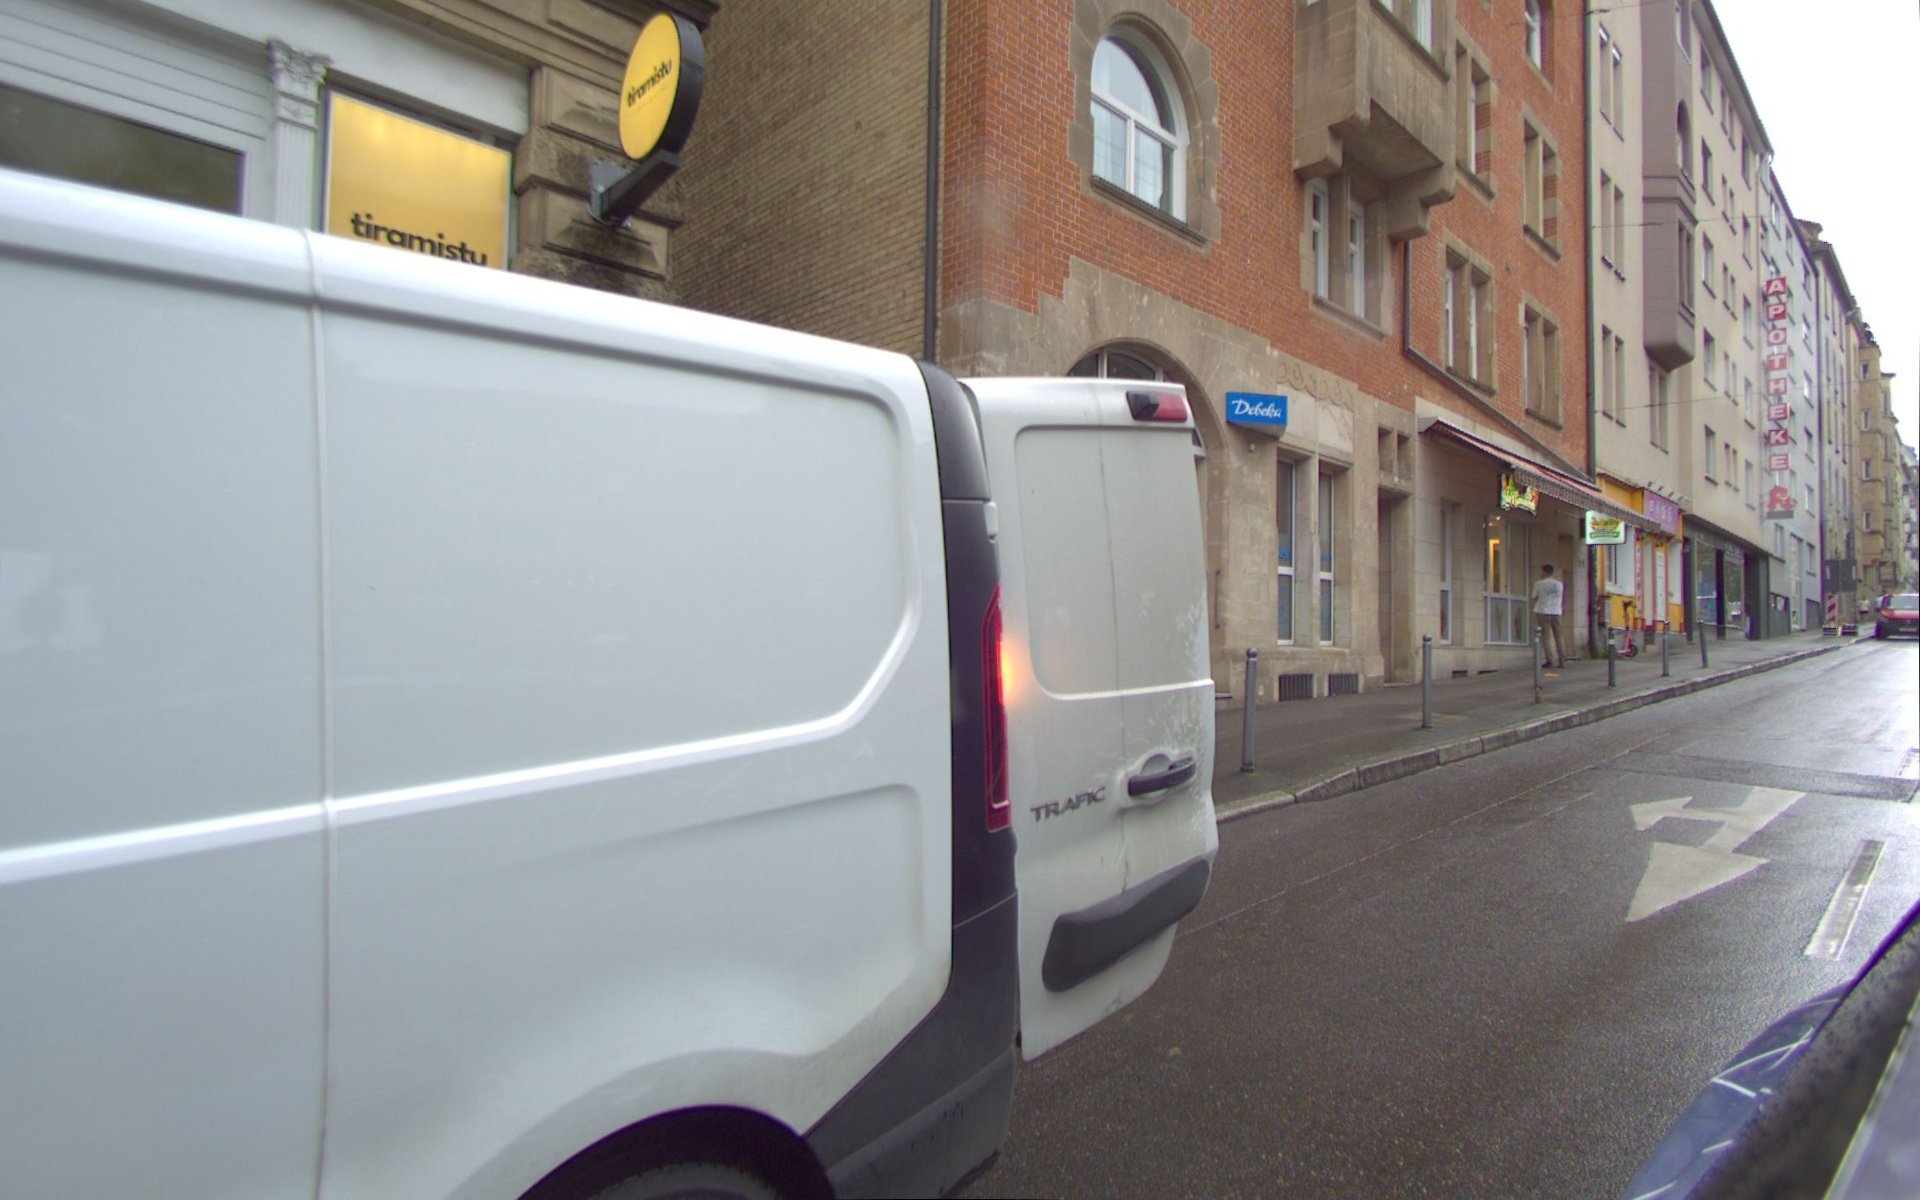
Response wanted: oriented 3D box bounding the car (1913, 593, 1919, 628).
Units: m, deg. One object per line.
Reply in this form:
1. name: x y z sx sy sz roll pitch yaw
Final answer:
1. car: 49.934 0.527 51.523 4.423 1.730 1.767 1 -1 -43

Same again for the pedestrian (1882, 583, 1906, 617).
1. pedestrian: 49.539 0.015 53.685 0.823 1.780 0.852 1 -2 -43

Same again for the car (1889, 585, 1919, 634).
1. car: 38.644 0.350 40.518 1.975 1.861 5.161 0 0 44

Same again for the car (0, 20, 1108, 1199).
1. car: -2.036 0.443 1.194 4.606 1.960 1.923 0 0 -43

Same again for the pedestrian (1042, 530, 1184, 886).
1. pedestrian: 0.799 0.533 5.492 0.674 1.776 0.835 0 0 4

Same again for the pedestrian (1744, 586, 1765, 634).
1. pedestrian: 27.708 0.342 35.287 0.478 1.666 0.328 -2 -2 30

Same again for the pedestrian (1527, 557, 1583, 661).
1. pedestrian: 10.784 0.157 18.359 0.567 1.852 0.565 1 2 -9

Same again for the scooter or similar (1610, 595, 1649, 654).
1. scooter or similar: 14.351 0.516 21.683 1.171 1.237 0.258 1 -2 -34
